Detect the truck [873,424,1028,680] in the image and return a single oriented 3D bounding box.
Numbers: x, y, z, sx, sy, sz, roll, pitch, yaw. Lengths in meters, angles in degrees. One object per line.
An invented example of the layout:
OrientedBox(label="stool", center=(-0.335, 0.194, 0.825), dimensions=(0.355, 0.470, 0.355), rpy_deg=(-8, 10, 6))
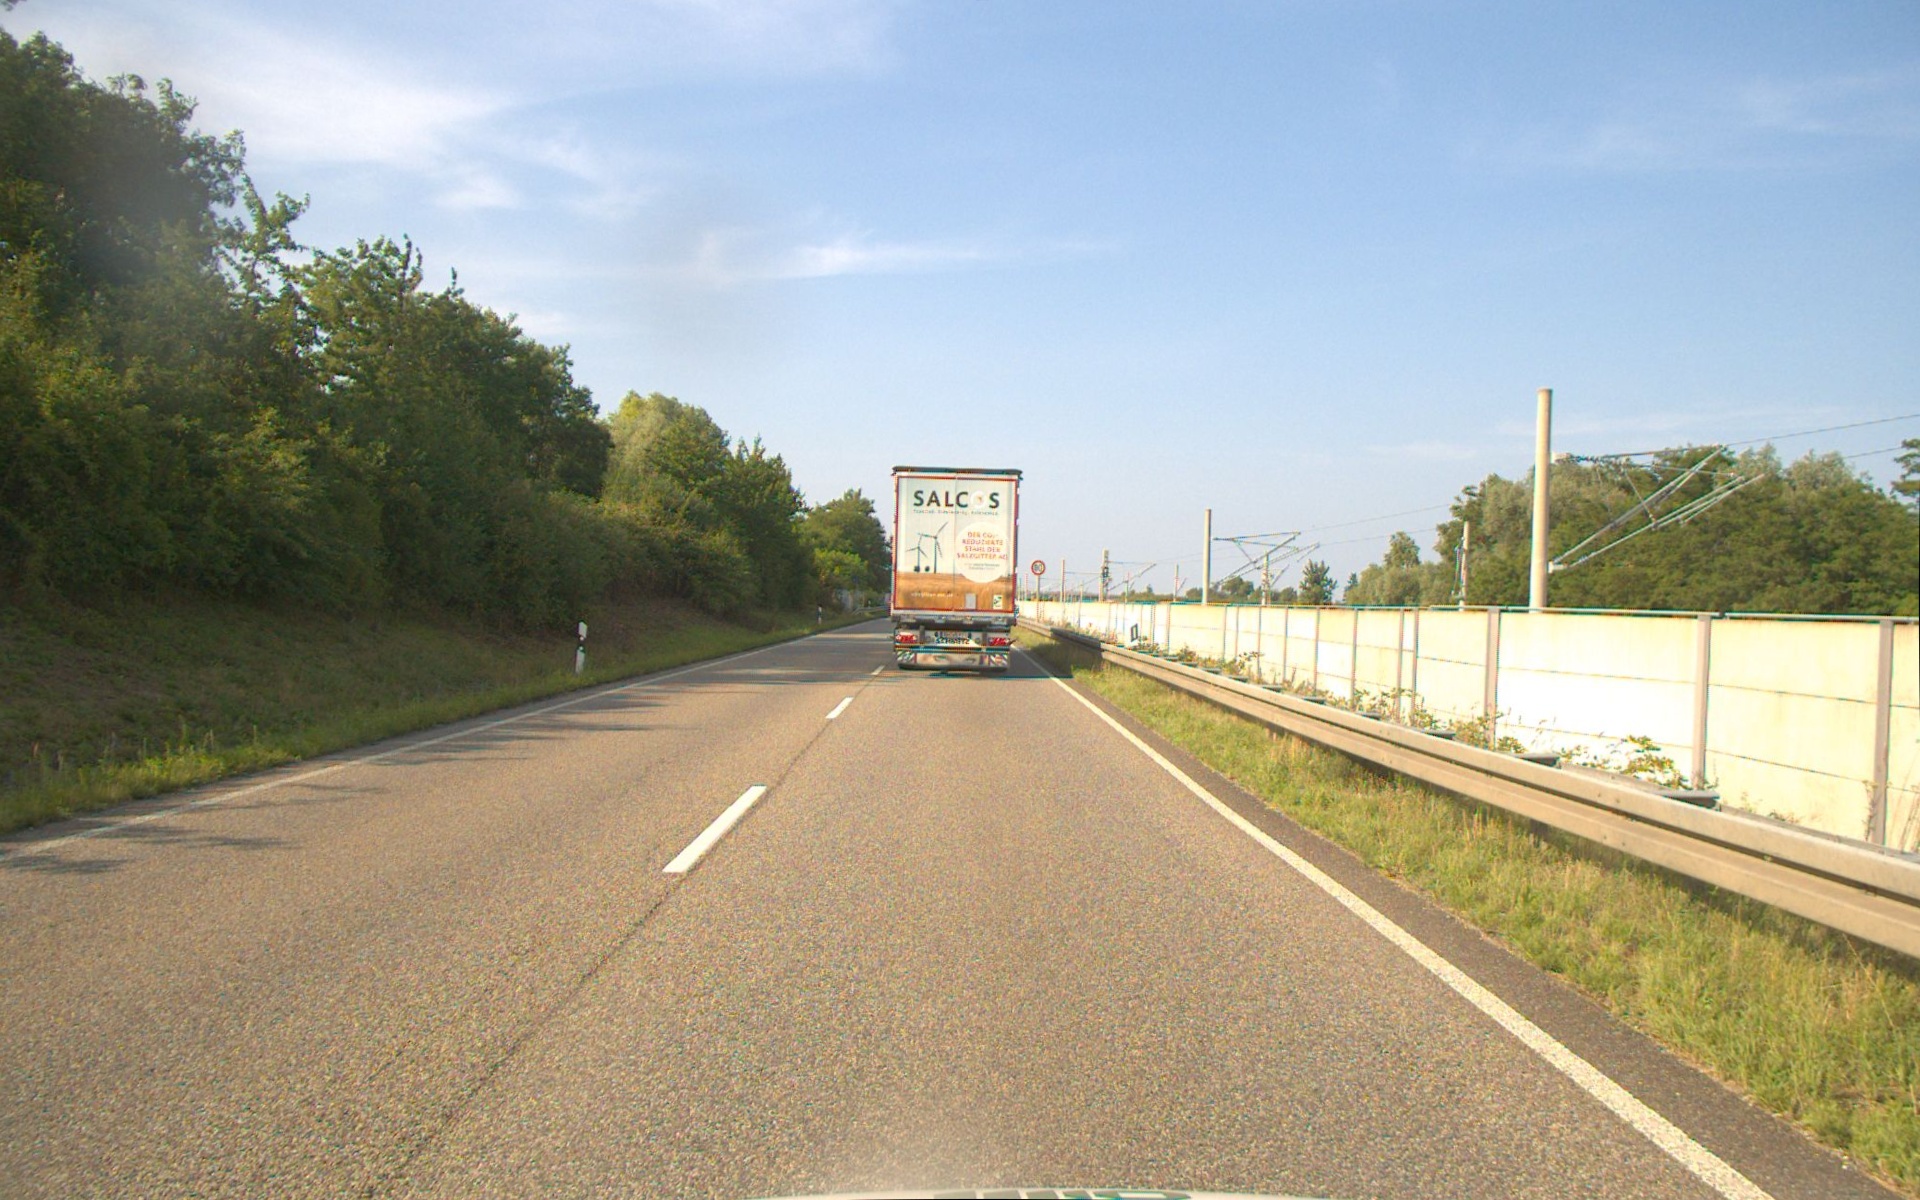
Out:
OrientedBox(label="truck", center=(-0.338, -0.949, 38.537), dimensions=(2.972, 5.006, 11.680), rpy_deg=(1, 0, -2))
